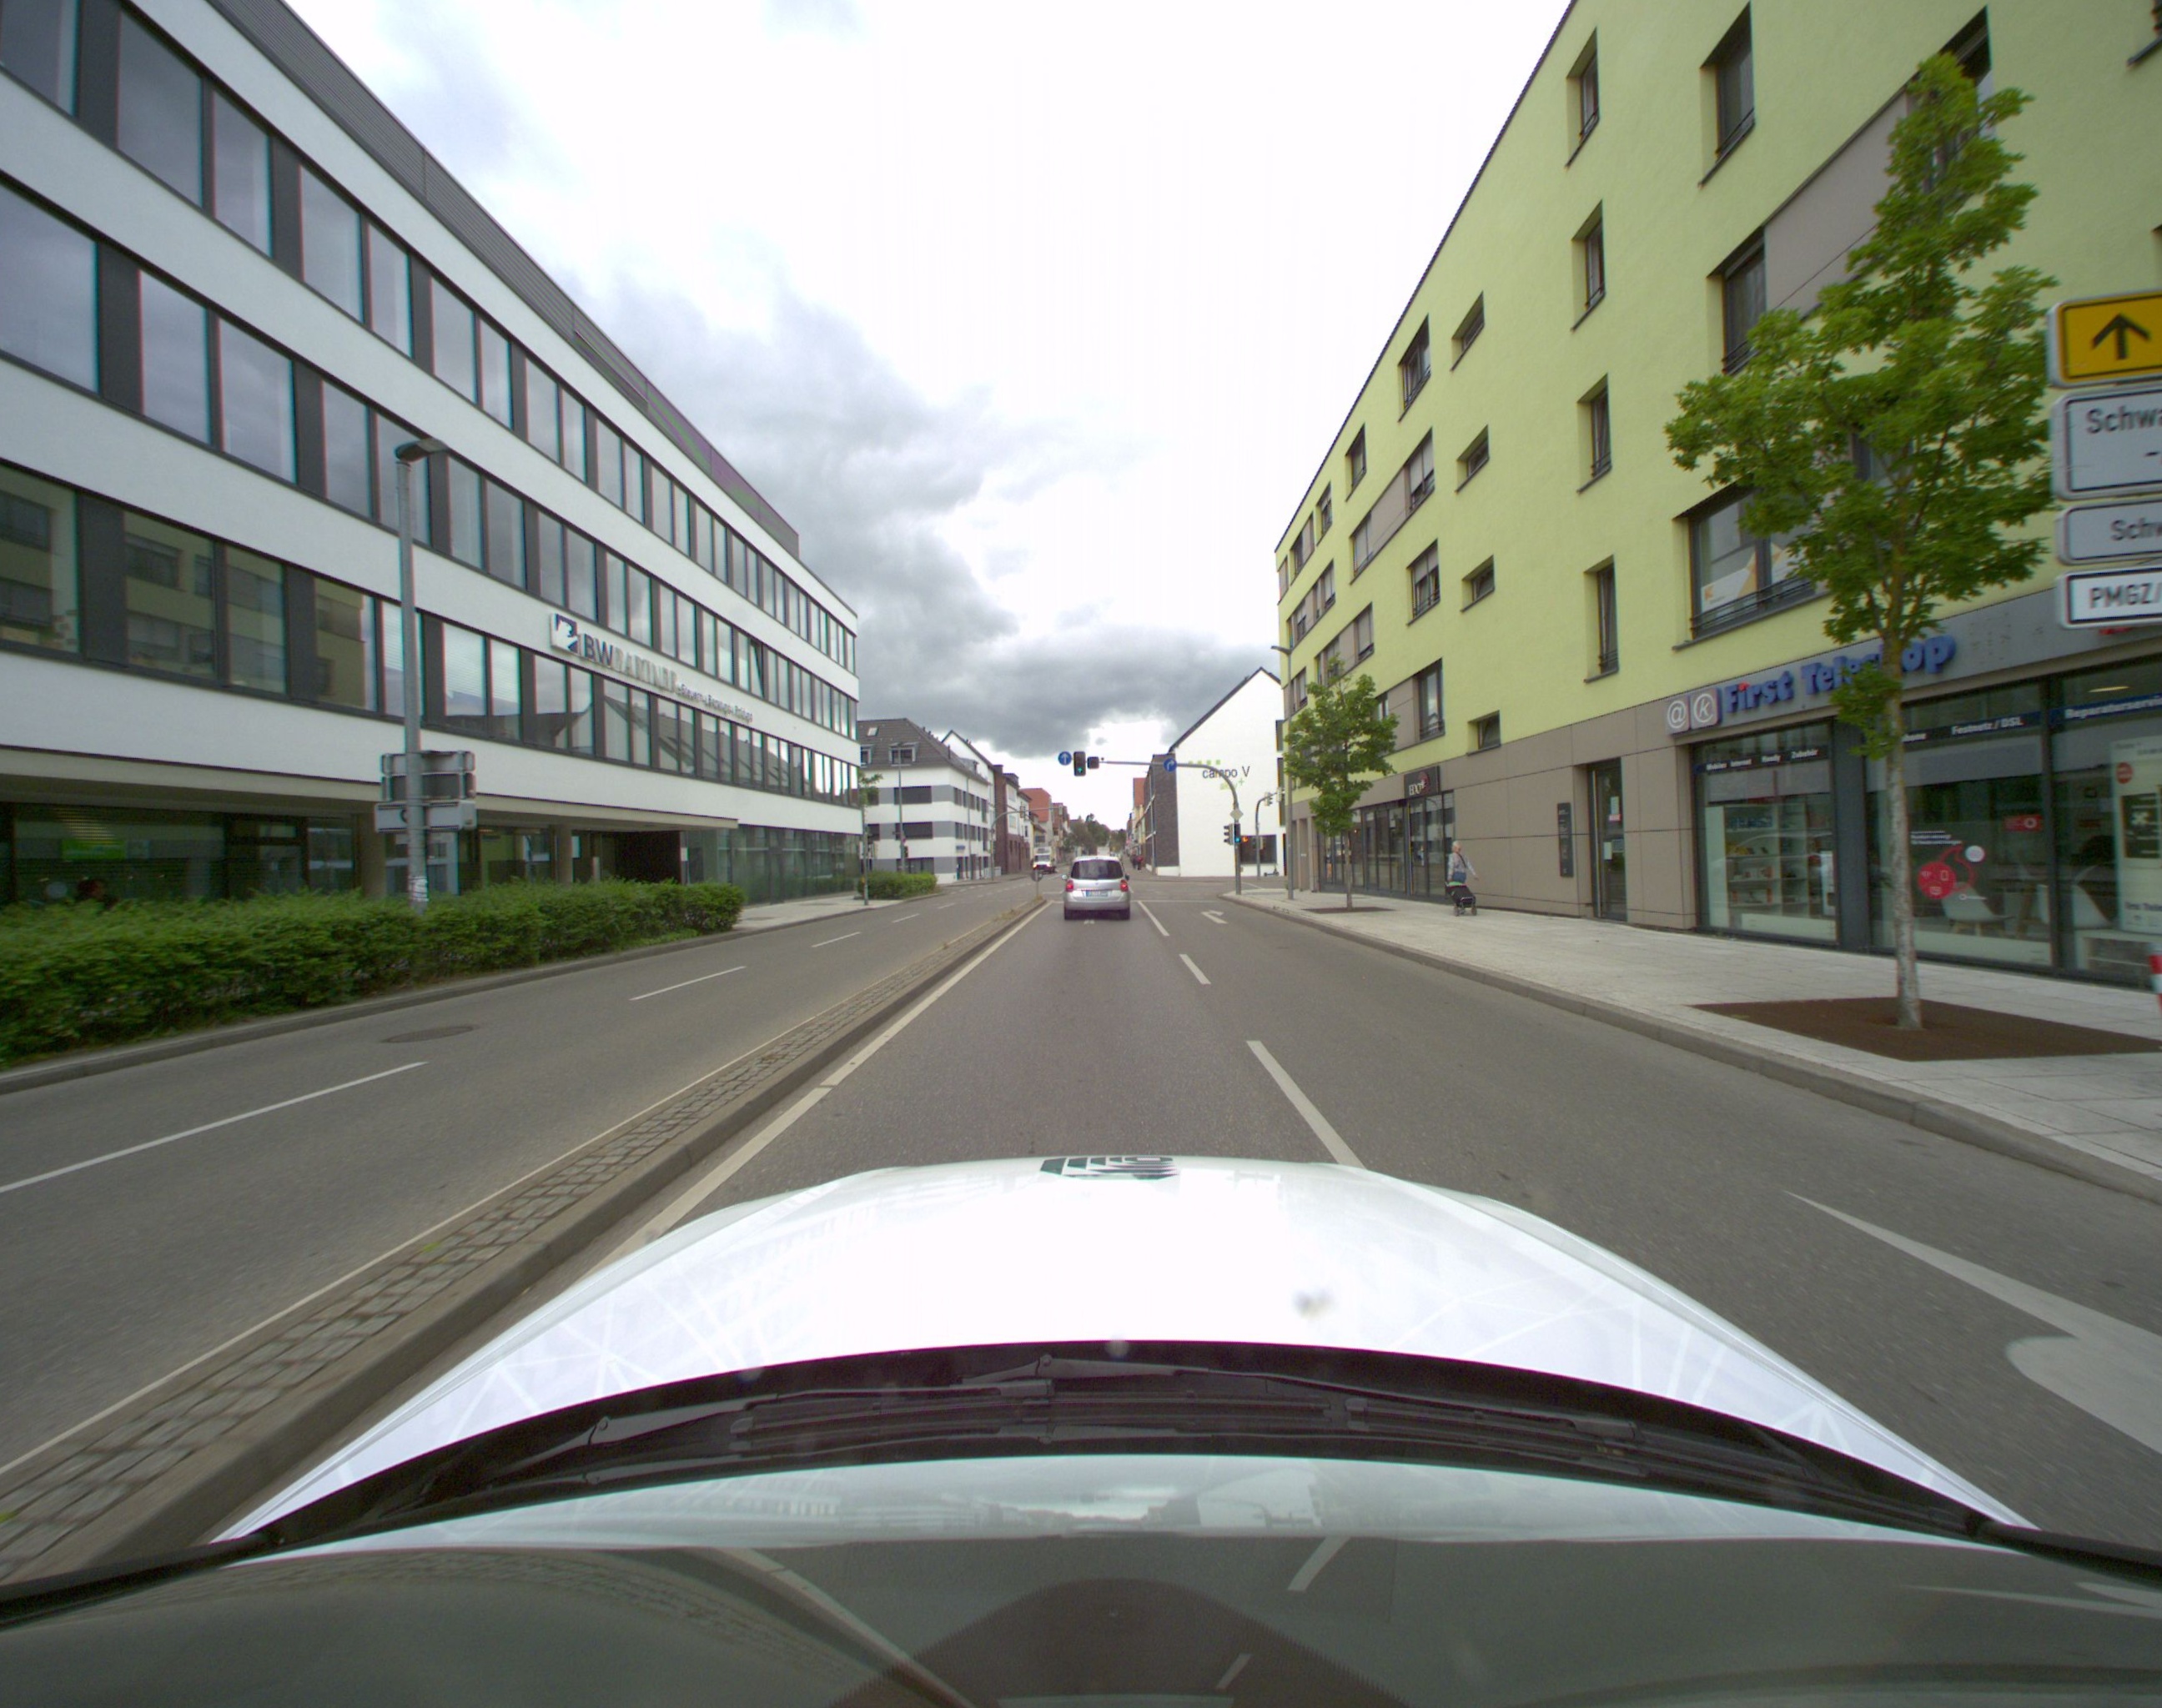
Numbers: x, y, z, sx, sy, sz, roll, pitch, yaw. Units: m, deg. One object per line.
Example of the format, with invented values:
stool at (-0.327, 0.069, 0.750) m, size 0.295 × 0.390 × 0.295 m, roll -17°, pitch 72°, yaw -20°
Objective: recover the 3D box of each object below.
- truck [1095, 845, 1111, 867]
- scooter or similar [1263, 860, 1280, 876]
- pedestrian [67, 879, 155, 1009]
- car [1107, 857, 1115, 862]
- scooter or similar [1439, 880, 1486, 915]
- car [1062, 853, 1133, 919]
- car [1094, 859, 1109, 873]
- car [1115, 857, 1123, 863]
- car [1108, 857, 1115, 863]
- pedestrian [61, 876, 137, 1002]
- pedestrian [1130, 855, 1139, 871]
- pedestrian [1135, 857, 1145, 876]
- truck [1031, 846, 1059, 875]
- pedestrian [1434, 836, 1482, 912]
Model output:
truck at (4.027, 0.385, 146.653) m, size 2.585 × 3.857 × 6.852 m, roll -2°, pitch 0°, yaw 2°
scooter or similar at (14.649, 1.078, 62.745) m, size 1.225 × 1.235 × 0.407 m, roll 0°, pitch -1°, yaw 2°
pedestrian at (-13.344, 1.212, 11.219) m, size 0.617 × 1.710 × 0.501 m, roll -2°, pitch -1°, yaw -29°
car at (8.121, 1.408, 220.195) m, size 1.805 × 1.354 × 4.003 m, roll -3°, pitch 0°, yaw 2°
scooter or similar at (8.014, 0.907, 17.136) m, size 0.590 × 0.673 × 0.824 m, roll -3°, pitch 0°, yaw 1°
car at (0.450, 0.782, 21.514) m, size 1.700 × 1.579 × 4.001 m, roll 0°, pitch 0°, yaw 2°
car at (2.371, 1.389, 94.826) m, size 1.700 × 1.579 × 4.001 m, roll 0°, pitch 0°, yaw 2°
car at (8.826, 1.471, 190.141) m, size 1.805 × 1.354 × 4.003 m, roll -3°, pitch 0°, yaw 2°
car at (8.165, 1.608, 220.197) m, size 1.805 × 1.354 × 4.003 m, roll -3°, pitch 0°, yaw 2°
pedestrian at (-14.132, 1.195, 11.722) m, size 0.500 × 1.730 × 0.619 m, roll -3°, pitch -1°, yaw 33°
pedestrian at (6.043, 1.019, 91.692) m, size 0.886 × 1.787 × 0.785 m, roll -5°, pitch 0°, yaw 2°
pedestrian at (5.708, 1.252, 79.328) m, size 0.804 × 1.787 × 0.861 m, roll -5°, pitch 0°, yaw 2°
truck at (-3.921, 0.706, 90.350) m, size 2.426 × 2.953 × 8.367 m, roll -2°, pitch 0°, yaw 2°
pedestrian at (8.267, 0.437, 17.880) m, size 0.693 × 1.593 × 0.603 m, roll -3°, pitch -1°, yaw 1°
